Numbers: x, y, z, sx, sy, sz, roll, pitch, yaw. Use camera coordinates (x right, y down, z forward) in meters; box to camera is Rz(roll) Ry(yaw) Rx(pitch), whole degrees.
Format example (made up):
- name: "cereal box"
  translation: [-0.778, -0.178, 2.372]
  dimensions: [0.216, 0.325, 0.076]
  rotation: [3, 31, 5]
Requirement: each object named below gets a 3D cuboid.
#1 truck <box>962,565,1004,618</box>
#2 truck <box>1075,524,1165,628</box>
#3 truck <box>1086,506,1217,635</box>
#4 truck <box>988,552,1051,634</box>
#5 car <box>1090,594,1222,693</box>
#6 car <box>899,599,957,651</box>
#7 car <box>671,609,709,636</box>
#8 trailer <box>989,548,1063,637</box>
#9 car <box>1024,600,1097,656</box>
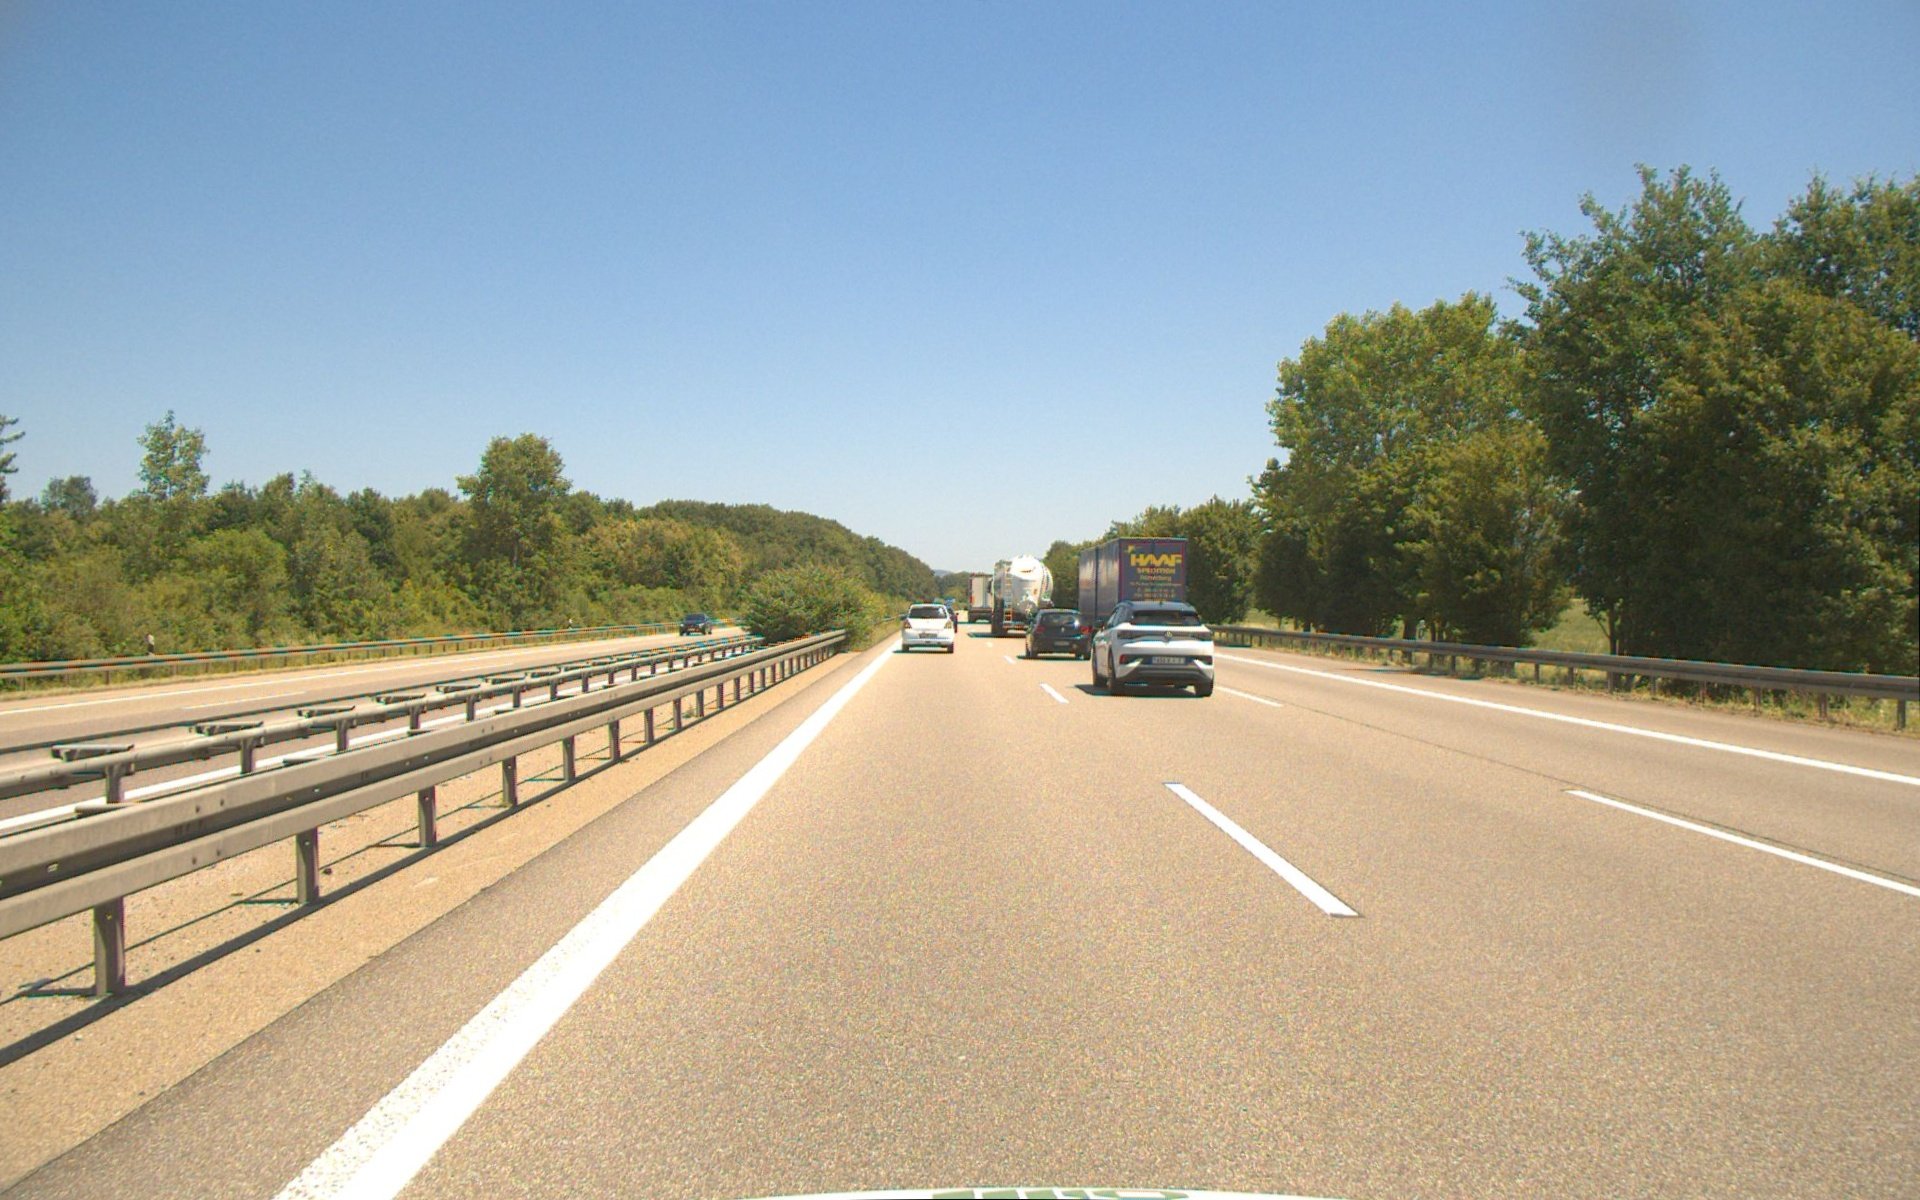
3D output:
- name: "truck"
  translation: [1.877, -0.713, 142.203]
  dimensions: [3.325, 4.287, 12.082]
  rotation: [1, 0, 0]
- name: "truck"
  translation: [6.906, -0.991, 72.461]
  dimensions: [3.045, 4.211, 8.055]
  rotation: [1, 0, 0]
- name: "truck"
  translation: [6.948, -0.984, 62.739]
  dimensions: [3.045, 4.211, 15.509]
  rotation: [1, 0, 0]
- name: "truck"
  translation: [3.117, -0.360, 88.367]
  dimensions: [2.853, 4.150, 7.193]
  rotation: [1, 0, -1]
- name: "car"
  translation: [3.478, 0.737, 30.074]
  dimensions: [1.766, 1.631, 4.379]
  rotation: [1, 0, -1]
- name: "car"
  translation: [-1.049, 0.767, 53.244]
  dimensions: [1.763, 1.579, 3.608]
  rotation: [1, 0, -2]
- name: "car"
  translation: [-18.140, 1.477, 111.418]
  dimensions: [1.885, 1.747, 4.287]
  rotation: [-1, 0, -1]
- name: "trailer"
  translation: [3.206, -0.360, 83.479]
  dimensions: [2.852, 4.140, 12.414]
  rotation: [1, 0, -1]
- name: "car"
  translation: [2.899, 0.782, 48.448]
  dimensions: [1.813, 1.549, 3.956]
  rotation: [1, 0, -1]
